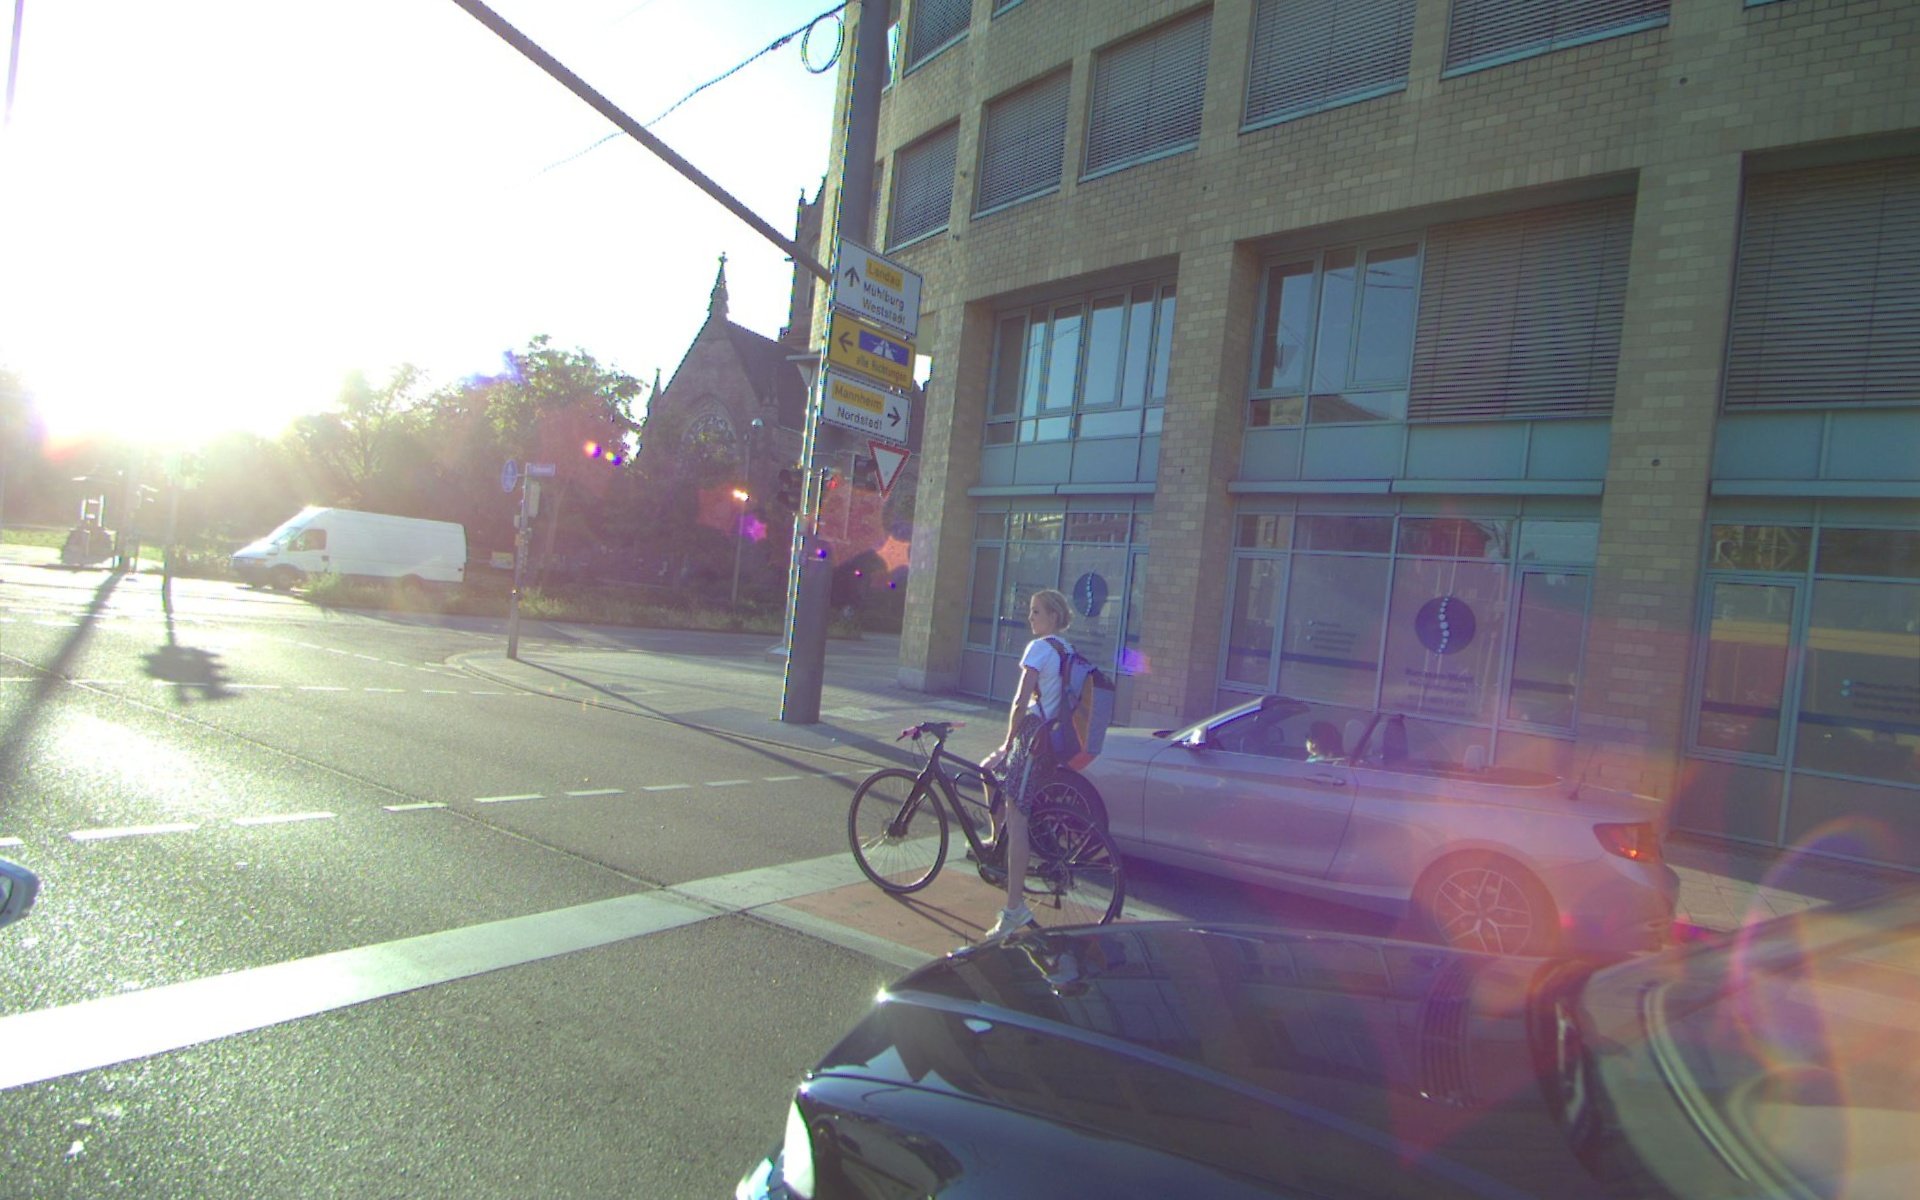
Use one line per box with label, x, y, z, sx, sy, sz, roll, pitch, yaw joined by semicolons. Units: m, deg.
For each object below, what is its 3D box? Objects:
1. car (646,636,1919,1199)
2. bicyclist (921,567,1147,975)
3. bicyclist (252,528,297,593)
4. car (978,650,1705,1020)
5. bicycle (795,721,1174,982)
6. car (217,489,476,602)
car;1.986;1.053;1.279;4.661;1.401;1.997;6;-1;32
bicyclist;0.386;0.809;5.121;0.764;1.843;0.634;6;0;30
bicyclist;-22.768;-1.304;33.416;0.711;2.039;0.898;7;1;37
car;2.408;1.331;6.959;4.158;1.401;1.746;6;-2;32
bicycle;0.092;1.225;5.278;1.838;0.884;0.634;6;0;30
car;-20.248;-1.688;33.690;2.059;2.862;7.017;6;-1;33
